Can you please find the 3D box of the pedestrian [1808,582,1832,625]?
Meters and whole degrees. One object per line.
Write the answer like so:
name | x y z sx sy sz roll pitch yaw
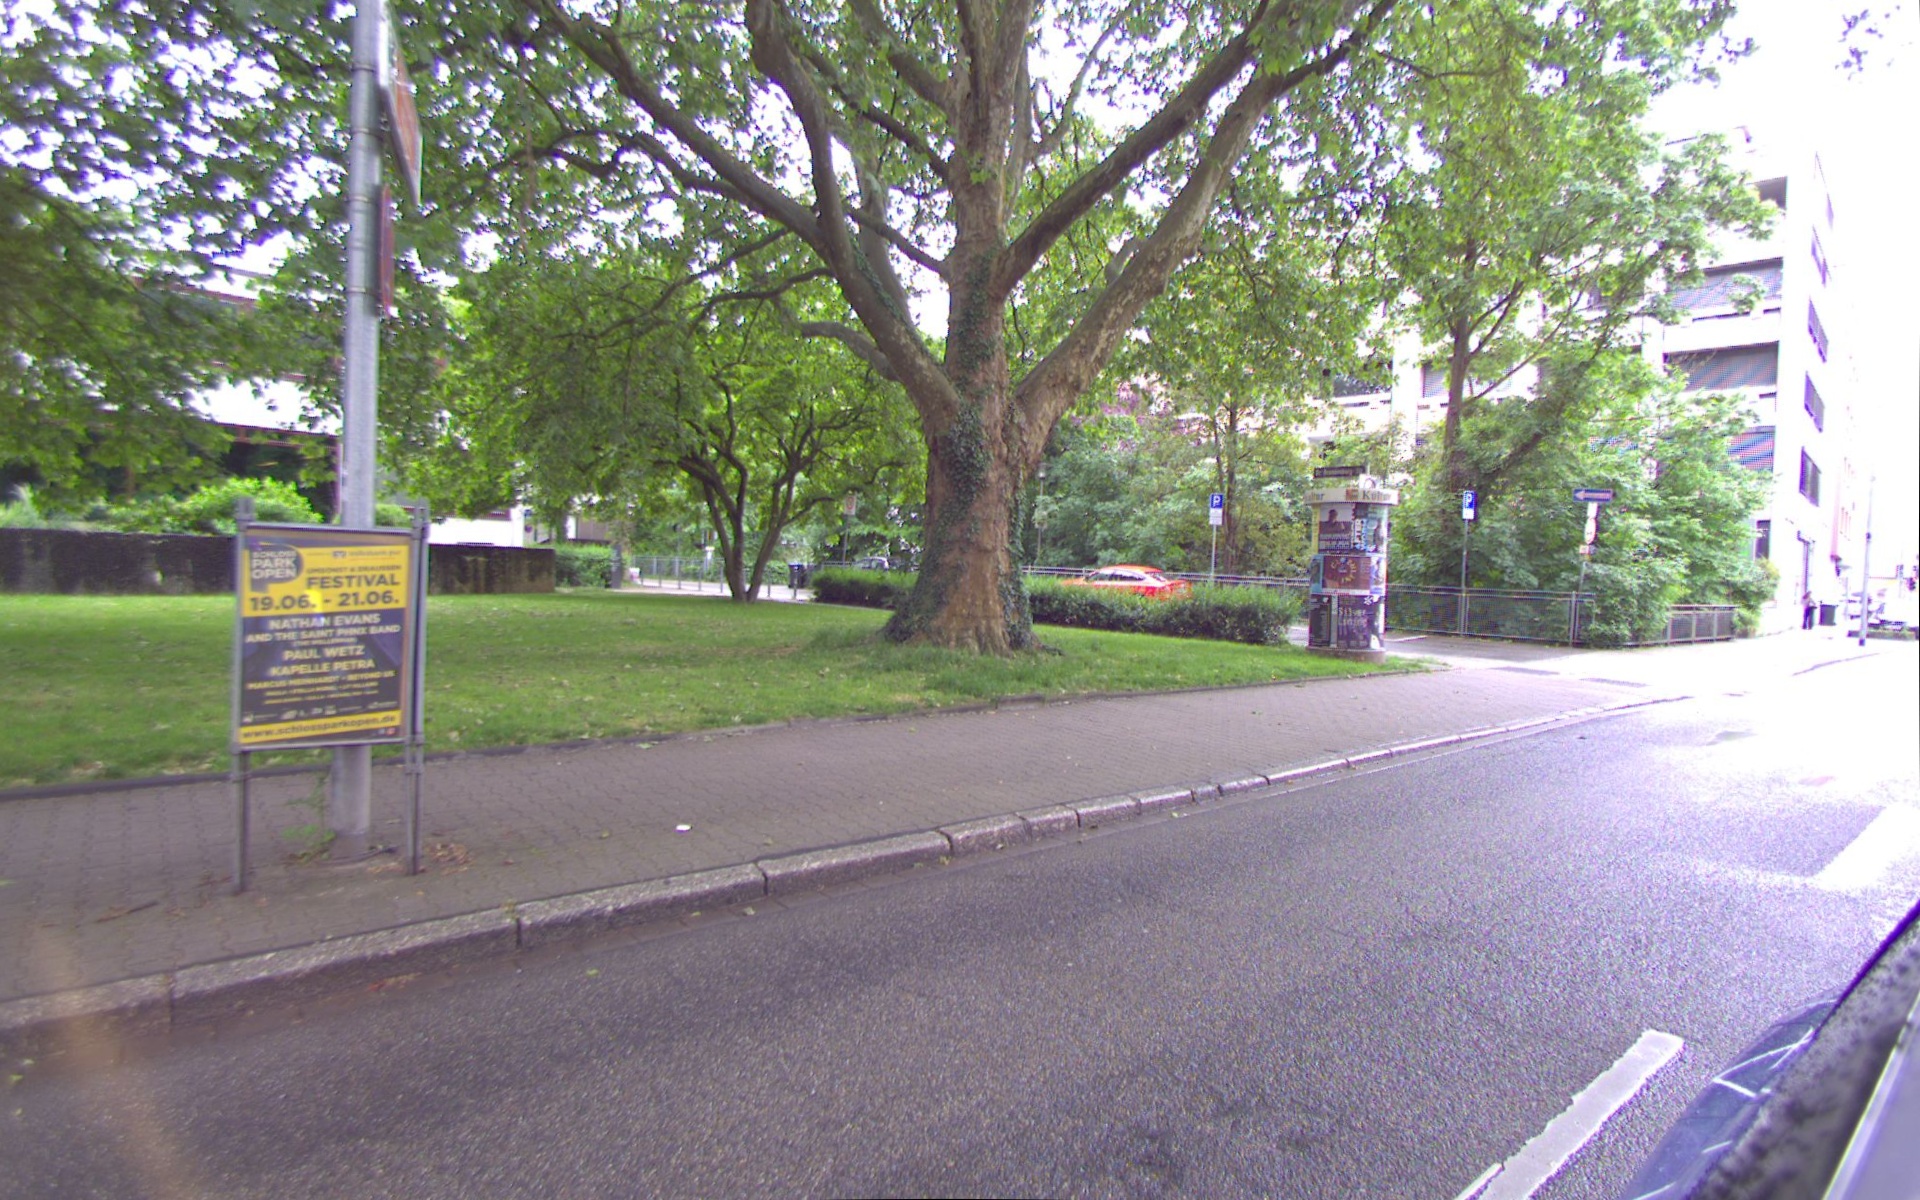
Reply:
pedestrian | 34.922 0.119 41.101 0.598 1.679 0.681 7 4 42

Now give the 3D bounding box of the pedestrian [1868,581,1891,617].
pedestrian | 56.555 -0.084 62.258 0.797 2.179 0.732 2 1 26

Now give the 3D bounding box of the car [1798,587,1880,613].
car | 62.161 -0.025 71.585 1.770 1.604 4.155 0 3 -41

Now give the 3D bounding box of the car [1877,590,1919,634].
car | 37.497 0.465 39.827 3.741 1.577 1.705 0 4 -43

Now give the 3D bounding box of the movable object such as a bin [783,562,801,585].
movable object such as a bin | -7.177 -1.130 43.162 0.573 0.986 0.512 0 0 -41

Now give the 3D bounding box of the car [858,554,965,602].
car | -1.817 -0.824 37.092 1.707 1.590 3.925 0 3 -45

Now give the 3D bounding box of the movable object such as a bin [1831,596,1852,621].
movable object such as a bin | 42.123 0.401 48.372 0.505 1.117 0.680 0 2 -42

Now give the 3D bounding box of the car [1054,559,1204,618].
car | 4.912 -0.388 29.745 3.989 1.499 1.847 5 5 44

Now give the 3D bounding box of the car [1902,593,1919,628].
car | 42.554 0.492 44.100 4.493 1.437 1.834 0 3 -43
